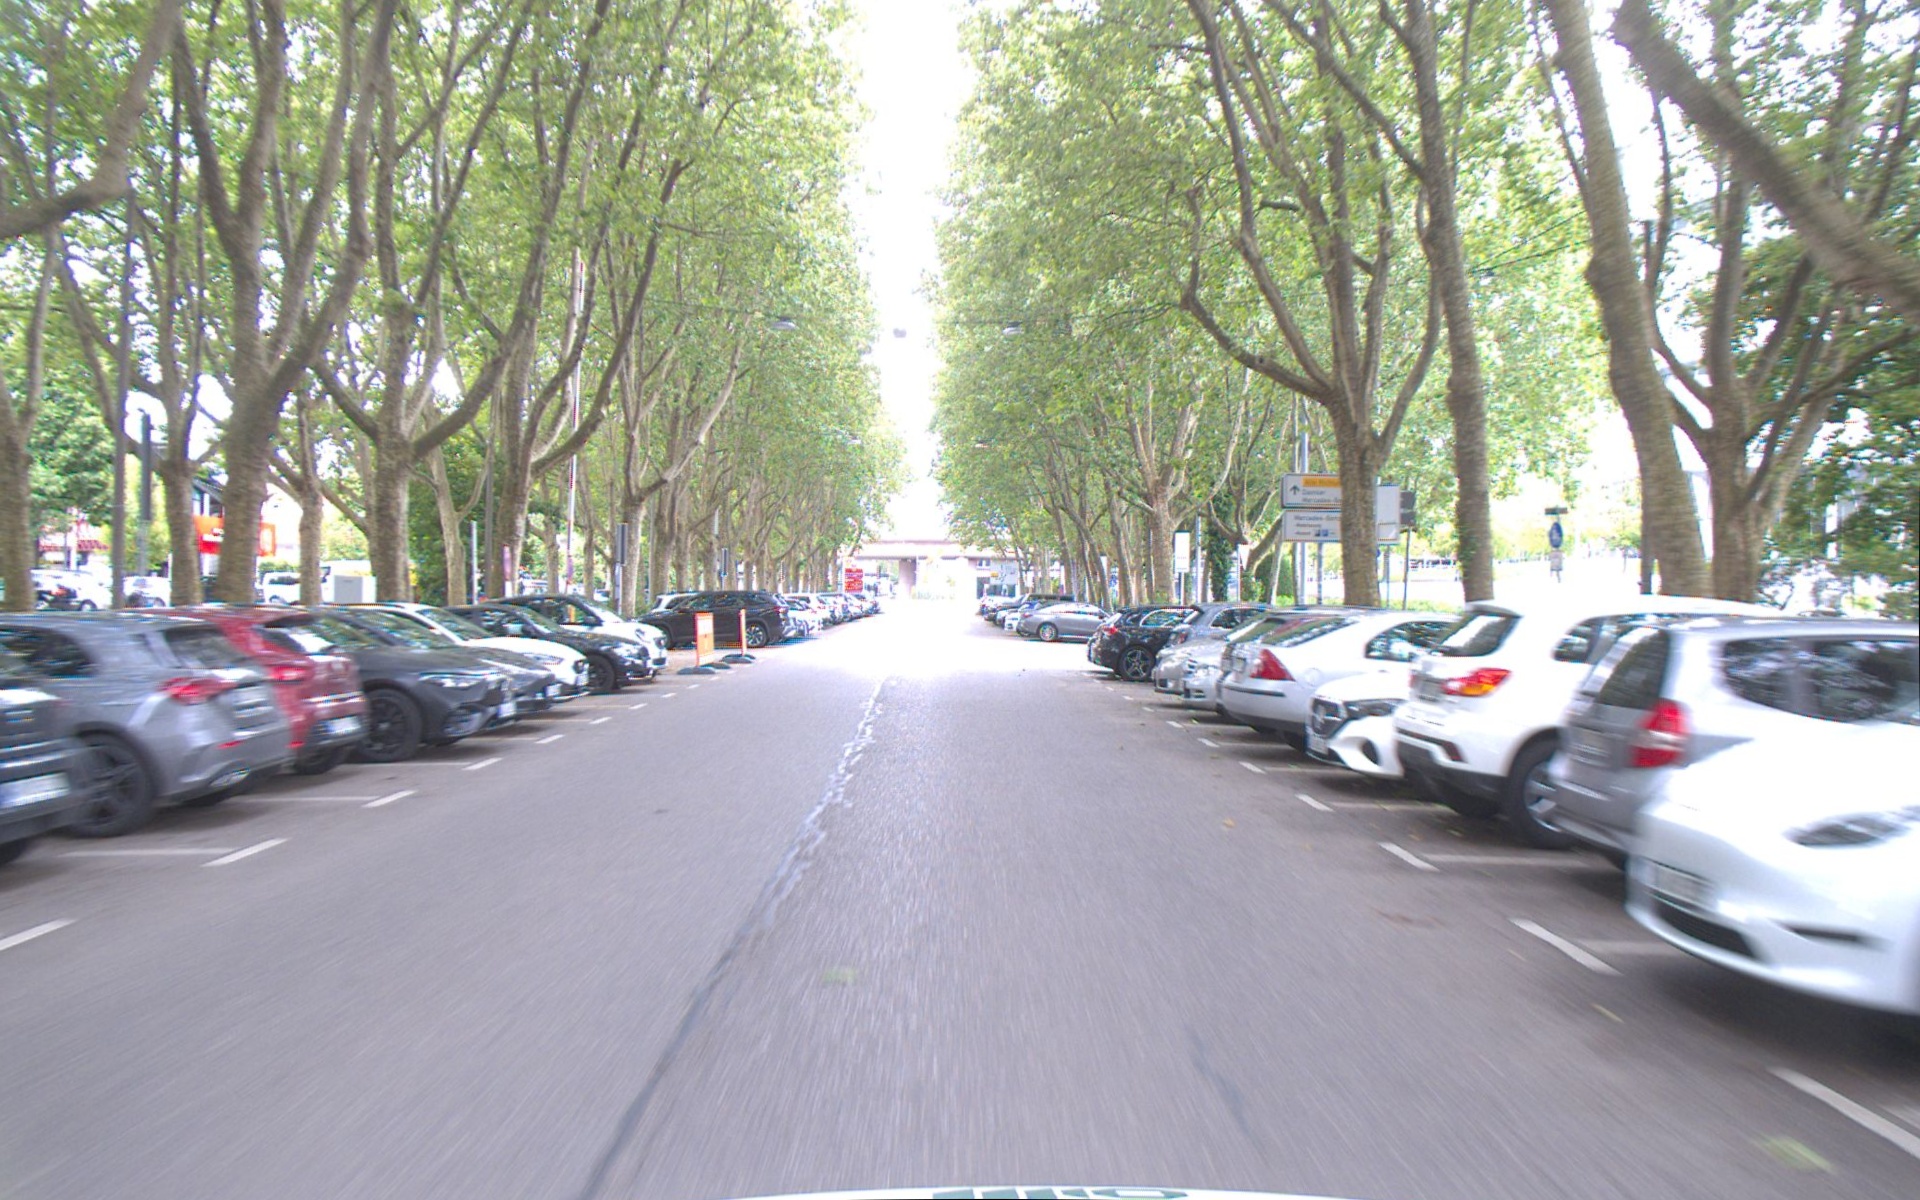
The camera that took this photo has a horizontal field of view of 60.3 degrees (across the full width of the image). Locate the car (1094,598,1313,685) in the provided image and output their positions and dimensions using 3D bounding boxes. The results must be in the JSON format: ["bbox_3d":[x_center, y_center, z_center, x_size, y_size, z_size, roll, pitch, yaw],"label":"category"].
[{"bbox_3d":[4.549,0.755,31.176,3.840,1.477,1.555,2,0,-2],"label":"car"}]

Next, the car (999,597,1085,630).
[{"bbox_3d":[3.978,0.664,80.479,3.968,1.494,1.730,1,0,-4],"label":"car"}]

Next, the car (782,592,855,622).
[{"bbox_3d":[-7.782,0.373,90.953,3.733,1.542,1.687,-2,0,4],"label":"car"}]

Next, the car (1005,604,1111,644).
[{"bbox_3d":[3.892,0.944,65.453,4.088,1.467,1.732,1,0,4],"label":"car"}]

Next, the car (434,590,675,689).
[{"bbox_3d":[-6.901,0.647,28.419,3.751,1.582,1.693,-1,0,-4],"label":"car"}]

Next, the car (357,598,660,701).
[{"bbox_3d":[-6.924,0.733,25.672,4.247,1.455,1.693,-1,0,-4],"label":"car"}]

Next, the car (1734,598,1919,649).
[{"bbox_3d":[25.641,0.679,48.667,4.833,1.427,1.999,0,0,-3],"label":"car"}]

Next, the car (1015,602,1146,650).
[{"bbox_3d":[4.236,0.897,58.268,4.478,1.512,2.001,1,0,4],"label":"car"}]

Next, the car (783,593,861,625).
[{"bbox_3d":[-7.154,0.474,85.988,3.733,1.542,1.687,-2,0,4],"label":"car"}]

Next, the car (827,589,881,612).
[{"bbox_3d":[-7.662,0.050,120.071,3.734,1.542,1.686,1,0,2],"label":"car"}]

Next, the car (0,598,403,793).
[{"bbox_3d":[-6.774,0.748,13.627,3.747,1.455,1.695,-1,0,3],"label":"car"}]

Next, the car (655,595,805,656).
[{"bbox_3d":[-7.049,0.760,50.938,4.382,1.706,1.761,-2,0,-3],"label":"car"}]

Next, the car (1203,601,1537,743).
[{"bbox_3d":[4.609,0.798,18.840,3.357,1.448,1.518,2,0,-5],"label":"car"}]

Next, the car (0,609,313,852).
[{"bbox_3d":[-6.536,0.832,11.048,3.751,1.455,1.693,-1,0,-4],"label":"car"}]

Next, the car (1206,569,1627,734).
[{"bbox_3d":[4.441,0.476,16.478,3.574,1.448,1.984,2,0,-4],"label":"car"}]

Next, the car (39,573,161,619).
[{"bbox_3d":[-33.471,-0.160,64.416,3.902,1.617,1.695,2,0,7],"label":"car"}]

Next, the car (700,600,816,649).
[{"bbox_3d":[-6.791,0.808,55.816,3.737,1.510,1.661,-2,0,-3],"label":"car"}]

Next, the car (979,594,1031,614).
[{"bbox_3d":[3.803,0.322,139.975,4.287,1.549,1.731,1,0,0],"label":"car"}]

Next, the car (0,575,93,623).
[{"bbox_3d":[-33.446,-0.036,59.477,3.680,1.617,1.535,2,0,-4],"label":"car"}]

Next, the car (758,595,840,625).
[{"bbox_3d":[-7.873,0.496,80.988,3.733,1.319,1.787,-2,0,4],"label":"car"}]

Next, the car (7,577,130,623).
[{"bbox_3d":[-33.262,-0.006,61.778,3.680,1.617,1.535,2,0,-4],"label":"car"}]

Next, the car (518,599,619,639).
[{"bbox_3d":[-21.785,1.055,92.158,4.972,2.050,2.176,2,0,2],"label":"car"}]

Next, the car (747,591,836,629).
[{"bbox_3d":[-7.716,0.452,75.823,3.733,1.630,1.787,-2,0,4],"label":"car"}]

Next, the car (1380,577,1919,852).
[{"bbox_3d":[4.909,0.748,11.407,3.574,1.696,1.518,2,0,-5],"label":"car"}]

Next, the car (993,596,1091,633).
[{"bbox_3d":[3.499,0.615,70.541,4.088,1.467,1.732,1,0,4],"label":"car"}]

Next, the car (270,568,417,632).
[{"bbox_3d":[-23.573,0.006,63.318,4.976,2.271,1.535,2,0,-3],"label":"car"}]

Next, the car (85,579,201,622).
[{"bbox_3d":[-33.328,-0.002,67.523,3.902,1.617,1.695,2,0,7],"label":"car"}]

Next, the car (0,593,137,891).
[{"bbox_3d":[-6.621,0.728,8.589,3.750,1.455,1.801,-1,0,-3],"label":"car"}]

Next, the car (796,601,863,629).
[{"bbox_3d":[-7.752,0.901,98.548,3.733,1.542,1.687,-2,0,4],"label":"car"}]

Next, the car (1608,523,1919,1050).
[{"bbox_3d":[4.839,0.625,6.177,4.085,1.624,1.853,2,0,-5],"label":"car"}]

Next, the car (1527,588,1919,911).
[{"bbox_3d":[5.173,0.765,9.002,3.574,1.545,1.642,2,0,-5],"label":"car"}]

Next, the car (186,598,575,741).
[{"bbox_3d":[-6.364,0.742,18.477,3.751,1.455,1.693,-1,-1,-4],"label":"car"}]

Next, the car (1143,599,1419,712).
[{"bbox_3d":[4.536,0.769,23.666,3.605,1.448,1.518,2,0,-3],"label":"car"}]

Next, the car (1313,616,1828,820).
[{"bbox_3d":[4.825,0.911,13.331,3.574,1.434,1.518,2,0,-5],"label":"car"}]

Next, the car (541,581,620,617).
[{"bbox_3d":[-23.399,-0.085,102.039,4.261,2.050,2.176,2,0,2],"label":"car"}]

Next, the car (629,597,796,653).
[{"bbox_3d":[-7.130,0.705,48.031,4.571,1.452,1.999,-2,0,-3],"label":"car"}]

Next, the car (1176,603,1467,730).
[{"bbox_3d":[4.531,0.818,21.047,3.354,1.448,1.519,2,0,1],"label":"car"}]

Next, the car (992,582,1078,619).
[{"bbox_3d":[3.867,0.036,85.858,4.290,1.782,1.730,1,0,-4],"label":"car"}]

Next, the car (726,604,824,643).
[{"bbox_3d":[-7.664,0.969,68.588,3.733,1.510,1.663,-2,0,4],"label":"car"}]

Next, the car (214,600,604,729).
[{"bbox_3d":[-6.788,0.769,20.745,4.314,1.455,1.693,-1,0,-4],"label":"car"}]

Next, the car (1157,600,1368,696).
[{"bbox_3d":[5.248,0.820,28.941,3.356,1.534,1.555,2,0,-2],"label":"car"}]

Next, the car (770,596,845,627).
[{"bbox_3d":[-8.135,0.607,88.589,3.733,1.542,1.687,-2,0,4],"label":"car"}]

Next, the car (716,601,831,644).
[{"bbox_3d":[-6.528,0.777,58.156,3.733,1.377,1.663,-2,0,4],"label":"car"}]

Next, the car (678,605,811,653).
[{"bbox_3d":[-6.970,0.936,53.715,4.083,1.405,1.870,-2,0,-3],"label":"car"}]

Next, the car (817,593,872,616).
[{"bbox_3d":[-8.216,0.328,117.962,3.734,1.542,1.686,1,0,2],"label":"car"}]

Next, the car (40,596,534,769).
[{"bbox_3d":[-6.192,0.728,15.586,3.941,1.455,1.693,-1,0,-4],"label":"car"}]

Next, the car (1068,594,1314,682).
[{"bbox_3d":[4.568,0.738,33.168,4.566,1.477,1.925,3,0,-2],"label":"car"}]

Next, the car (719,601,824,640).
[{"bbox_3d":[-7.256,0.776,63.828,3.733,1.354,1.663,-2,0,4],"label":"car"}]

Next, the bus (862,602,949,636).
[{"bbox_3d":[-6.851,2.393,205.658,11.361,4.040,2.449,-1,-1,31],"label":"bus"}]
